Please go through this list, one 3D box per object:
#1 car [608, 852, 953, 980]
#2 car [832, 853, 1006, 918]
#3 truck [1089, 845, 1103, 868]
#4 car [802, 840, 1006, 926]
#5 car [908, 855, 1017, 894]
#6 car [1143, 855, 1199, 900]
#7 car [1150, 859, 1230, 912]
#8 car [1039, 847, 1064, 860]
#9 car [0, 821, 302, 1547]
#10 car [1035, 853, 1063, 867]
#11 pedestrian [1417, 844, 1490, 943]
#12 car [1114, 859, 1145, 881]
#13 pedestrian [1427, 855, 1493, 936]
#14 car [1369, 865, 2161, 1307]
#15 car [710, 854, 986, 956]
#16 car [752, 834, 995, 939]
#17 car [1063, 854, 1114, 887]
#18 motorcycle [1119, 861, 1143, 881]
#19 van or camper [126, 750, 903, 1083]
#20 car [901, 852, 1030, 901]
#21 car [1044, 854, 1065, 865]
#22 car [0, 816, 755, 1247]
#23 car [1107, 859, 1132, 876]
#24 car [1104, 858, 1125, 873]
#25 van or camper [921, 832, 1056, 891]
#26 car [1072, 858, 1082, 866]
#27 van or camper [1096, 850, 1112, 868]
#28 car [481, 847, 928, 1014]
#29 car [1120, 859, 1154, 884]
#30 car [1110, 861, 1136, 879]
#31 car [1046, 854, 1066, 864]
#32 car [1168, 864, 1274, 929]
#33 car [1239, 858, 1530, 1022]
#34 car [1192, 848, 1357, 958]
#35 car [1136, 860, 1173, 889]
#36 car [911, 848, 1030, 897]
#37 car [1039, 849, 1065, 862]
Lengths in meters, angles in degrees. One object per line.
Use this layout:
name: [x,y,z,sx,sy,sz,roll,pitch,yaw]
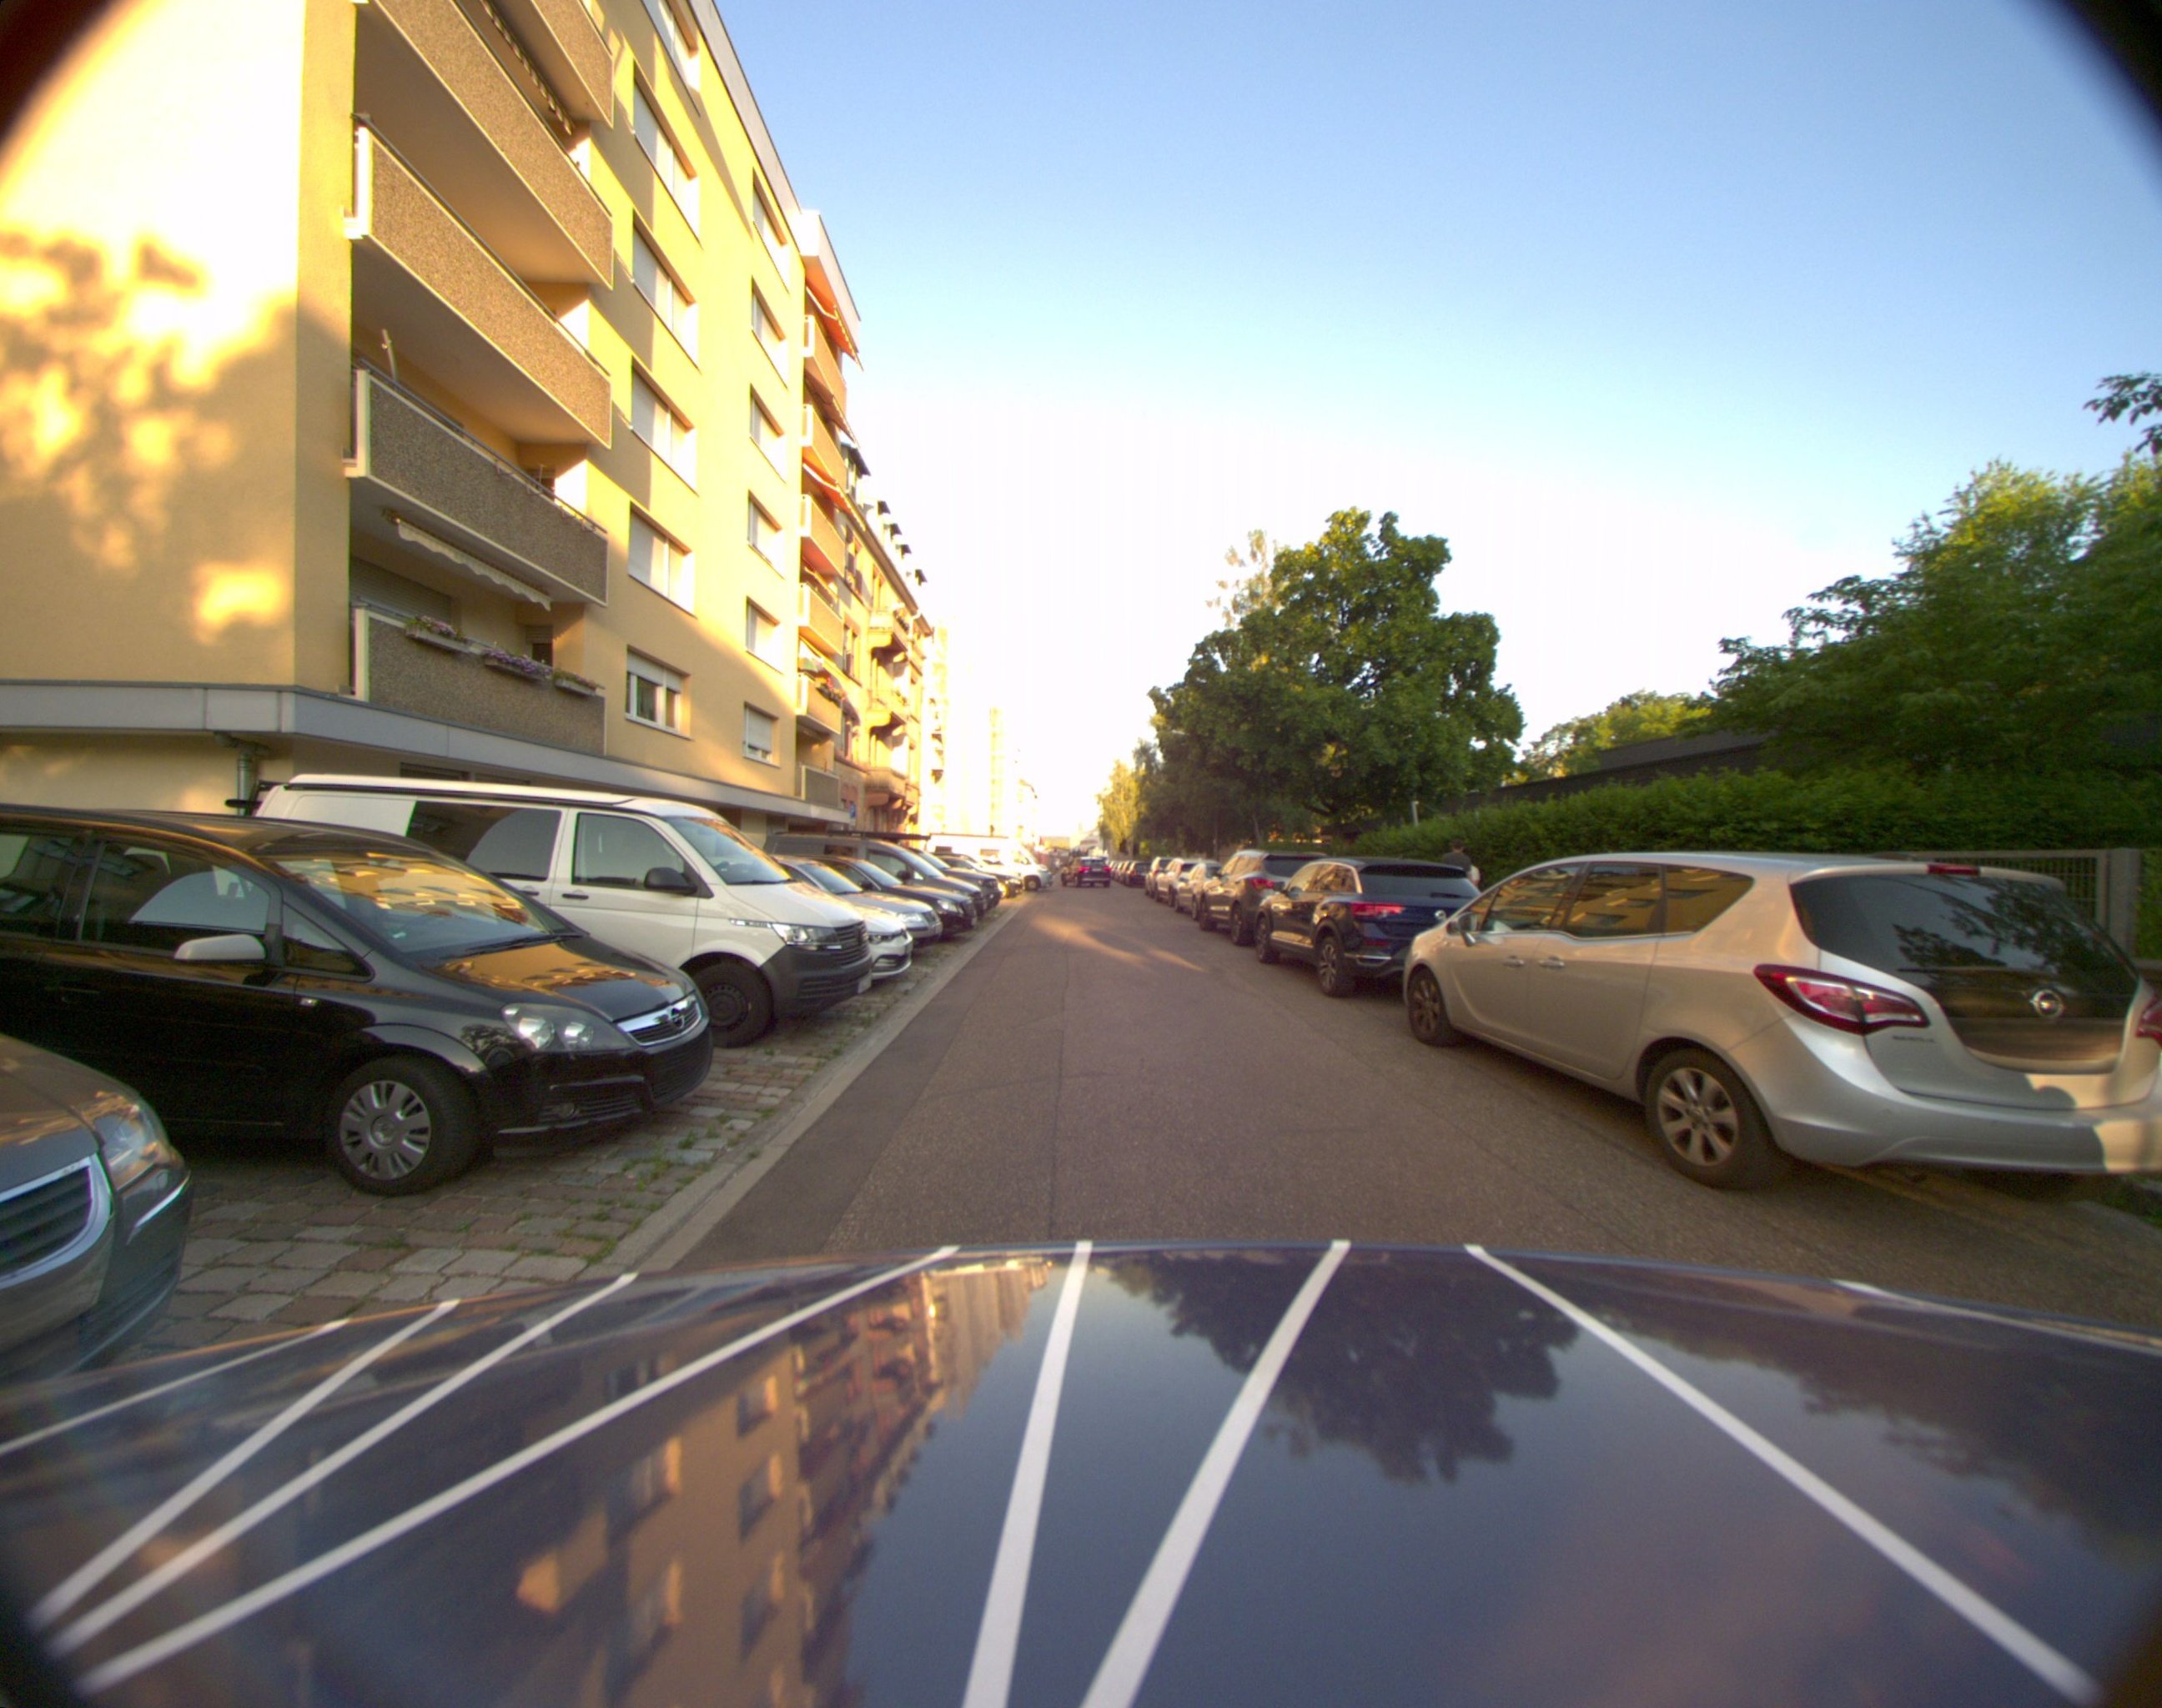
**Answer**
car: [-4.292,0.857,11.391,4.415,1.584,1.845,2,2,-1]
car: [-4.456,0.854,21.343,4.414,1.545,1.845,2,2,2]
truck: [2.487,0.418,129.229,2.183,3.860,4.926,0,0,0]
car: [-4.221,0.677,18.661,4.524,1.852,1.845,2,0,-1]
car: [-5.095,0.861,33.146,4.414,1.610,1.845,0,2,1]
car: [3.508,0.899,30.274,1.738,1.621,3.980,2,0,0]
car: [3.479,0.956,24.981,1.764,1.534,4.279,2,0,-3]
car: [-4.663,-0.077,121.864,3.997,2.002,2.000,0,0,-1]
car: [-4.670,0.677,1.403,4.416,1.652,1.844,3,2,-3]
car: [-4.532,0.848,107.664,3.997,2.002,2.000,0,0,-1]
pedestrian: [6.771,0.699,13.838,0.901,1.722,0.750,-2,0,-2]
car: [3.361,1.095,53.205,1.738,1.417,3.804,2,0,-1]
pedestrian: [7.363,0.779,14.796,0.750,1.499,0.901,-2,0,-2]
car: [3.616,0.902,4.867,1.738,1.558,4.128,2,0,-3]
car: [-4.065,0.869,13.803,4.415,1.554,1.845,2,2,-1]
car: [-4.289,0.642,16.254,4.649,1.970,1.845,2,2,-1]
car: [0.344,0.846,40.568,1.740,1.621,4.120,2,0,-14]
motorcycle: [3.300,1.128,50.341,1.596,1.251,0.785,0,0,2]
van or camper: [-4.441,0.486,6.716,5.147,2.155,2.039,4,1,-2]
car: [-4.184,0.801,28.050,4.414,1.545,1.845,2,2,0]
car: [-5.277,1.067,151.135,3.997,2.002,2.000,0,0,-1]
car: [-4.330,0.740,4.062,4.338,1.652,1.780,3,2,-3]
car: [3.225,1.137,64.126,1.738,1.358,3.804,2,0,-1]
car: [3.156,1.098,72.571,1.738,1.358,4.291,2,0,-1]
van or camper: [-4.283,0.335,36.005,6.075,2.489,2.050,2,0,0]
car: [-0.832,1.462,140.645,1.738,1.502,4.291,2,0,-1]
van or camper: [3.074,0.683,102.171,1.825,2.400,4.291,2,0,-1]
car: [-4.244,0.824,9.112,4.415,1.622,1.845,2,2,-1]
car: [3.419,1.035,46.687,1.738,1.438,3.805,2,0,0]
car: [3.222,1.186,58.919,1.738,1.280,3.804,2,0,-1]
car: [-5.122,1.060,153.563,3.997,2.002,2.000,0,0,-1]
car: [3.530,1.027,19.987,1.738,1.418,4.285,2,0,-3]
car: [3.402,0.854,9.498,1.738,1.558,4.166,2,0,-3]
car: [3.422,0.800,14.342,1.738,1.720,4.321,2,0,-3]
car: [3.987,1.081,41.380,1.624,1.417,3.415,2,0,0]
car: [-4.379,0.711,30.618,4.413,1.739,1.845,2,2,3]
car: [-4.544,0.227,118.712,3.997,2.002,2.000,0,0,-1]
